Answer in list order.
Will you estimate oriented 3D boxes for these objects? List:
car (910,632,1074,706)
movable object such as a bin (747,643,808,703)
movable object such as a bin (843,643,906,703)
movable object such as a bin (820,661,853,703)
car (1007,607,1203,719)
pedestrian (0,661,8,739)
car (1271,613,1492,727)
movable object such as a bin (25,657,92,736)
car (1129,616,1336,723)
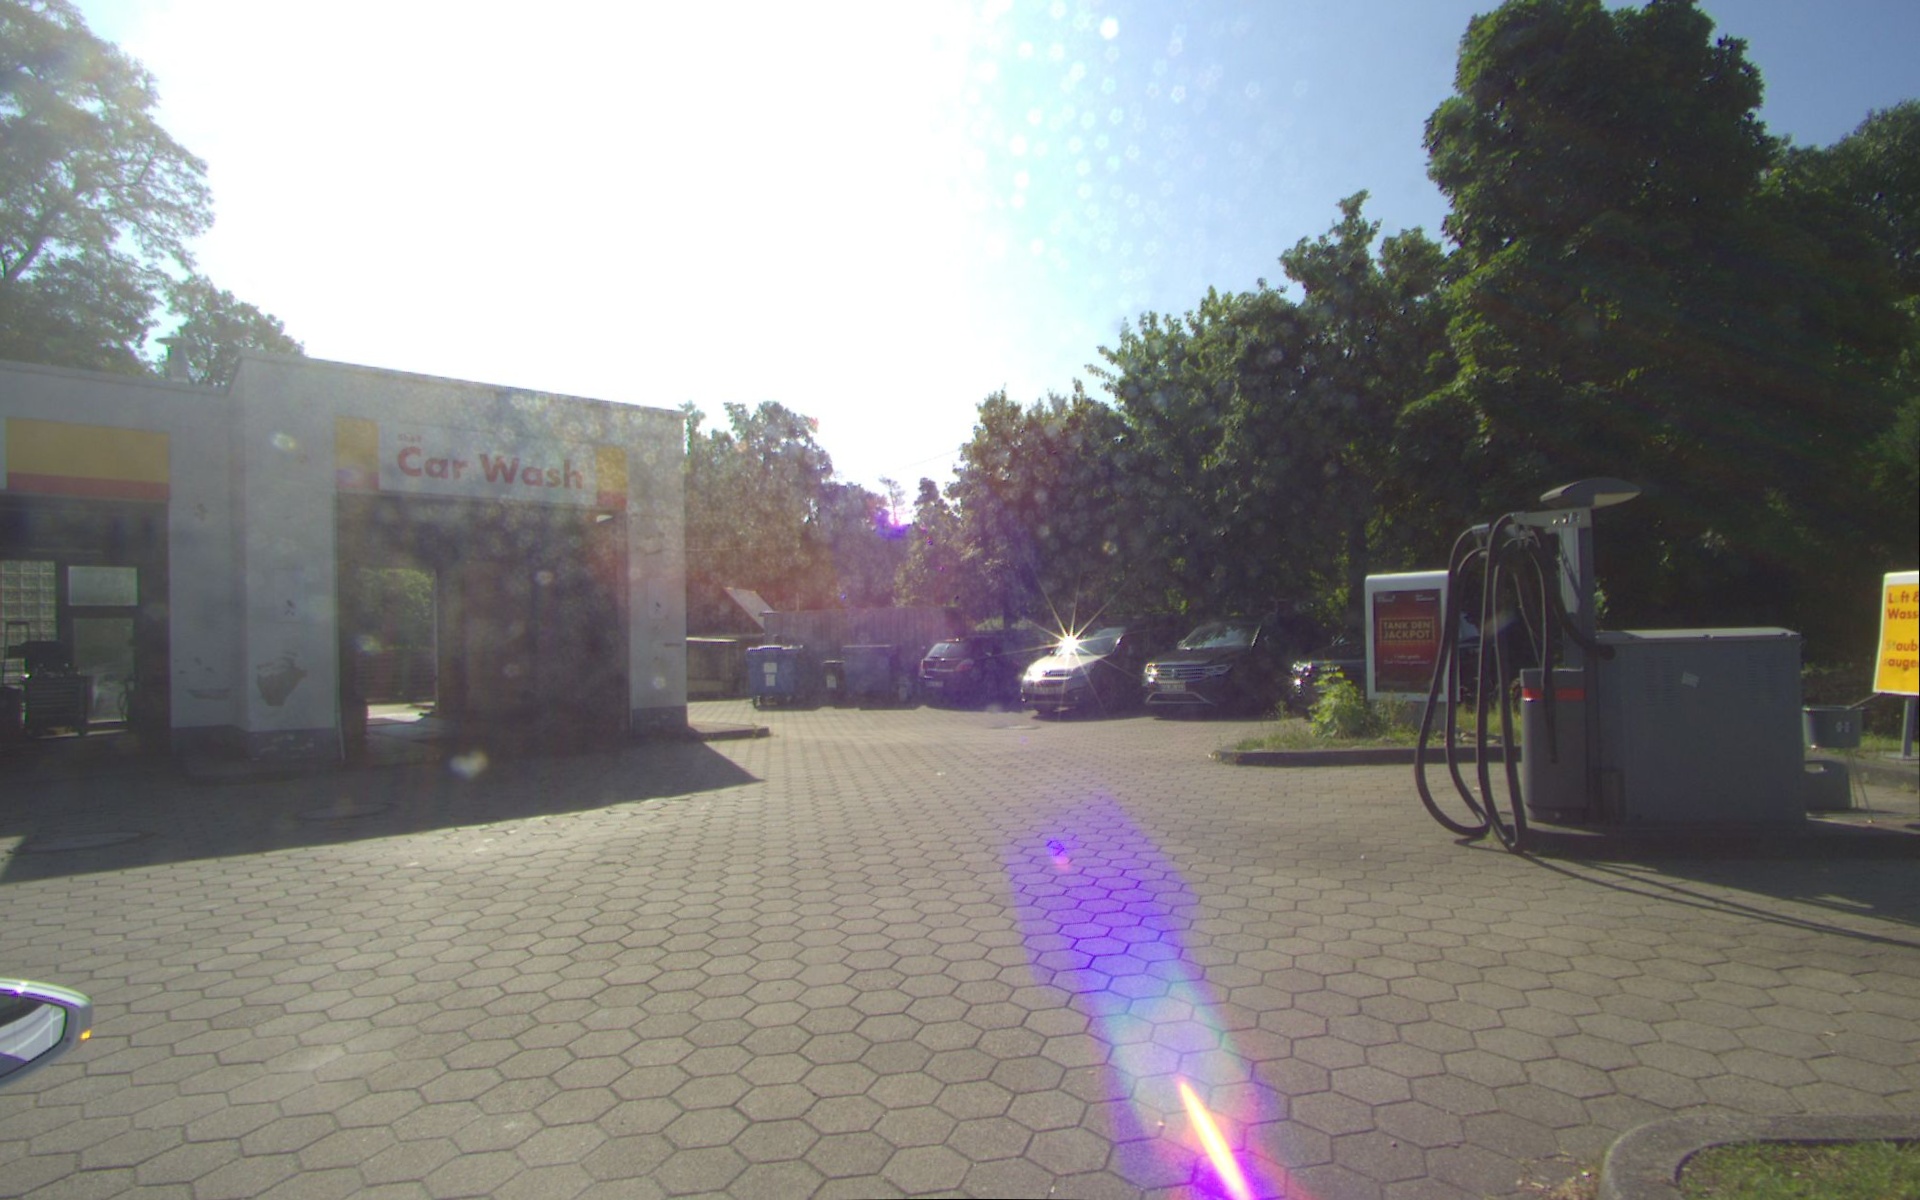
[{"bbox_3d":[0.755,1.487,22.460,3.471,1.457,1.670,0,-1,-40],"label":"car"},{"bbox_3d":[-4.177,1.662,22.977,1.211,1.342,0.850,-1,-2,3],"label":"movable object such as a bin"},{"bbox_3d":[-1.927,1.646,22.779,1.212,1.306,0.866,-2,-2,11],"label":"movable object such as a bin"},{"bbox_3d":[-2.822,1.878,22.945,0.484,0.921,0.866,-2,-2,10],"label":"movable object such as a bin"},{"bbox_3d":[2.909,1.162,19.619,3.898,1.816,1.669,-3,0,-43],"label":"car"},{"bbox_3d":[-15.533,1.595,15.686,0.857,1.212,0.737,0,-4,-42],"label":"pedestrian"},{"bbox_3d":[6.557,1.000,15.391,3.900,1.530,1.669,1,-3,-43],"label":"car"},{"bbox_3d":[-14.971,1.595,16.645,0.790,1.251,0.540,-1,-4,-39],"label":"movable object such as a bin"},{"bbox_3d":[4.841,1.147,17.501,3.900,1.649,1.669,1,-3,-43],"label":"car"}]
